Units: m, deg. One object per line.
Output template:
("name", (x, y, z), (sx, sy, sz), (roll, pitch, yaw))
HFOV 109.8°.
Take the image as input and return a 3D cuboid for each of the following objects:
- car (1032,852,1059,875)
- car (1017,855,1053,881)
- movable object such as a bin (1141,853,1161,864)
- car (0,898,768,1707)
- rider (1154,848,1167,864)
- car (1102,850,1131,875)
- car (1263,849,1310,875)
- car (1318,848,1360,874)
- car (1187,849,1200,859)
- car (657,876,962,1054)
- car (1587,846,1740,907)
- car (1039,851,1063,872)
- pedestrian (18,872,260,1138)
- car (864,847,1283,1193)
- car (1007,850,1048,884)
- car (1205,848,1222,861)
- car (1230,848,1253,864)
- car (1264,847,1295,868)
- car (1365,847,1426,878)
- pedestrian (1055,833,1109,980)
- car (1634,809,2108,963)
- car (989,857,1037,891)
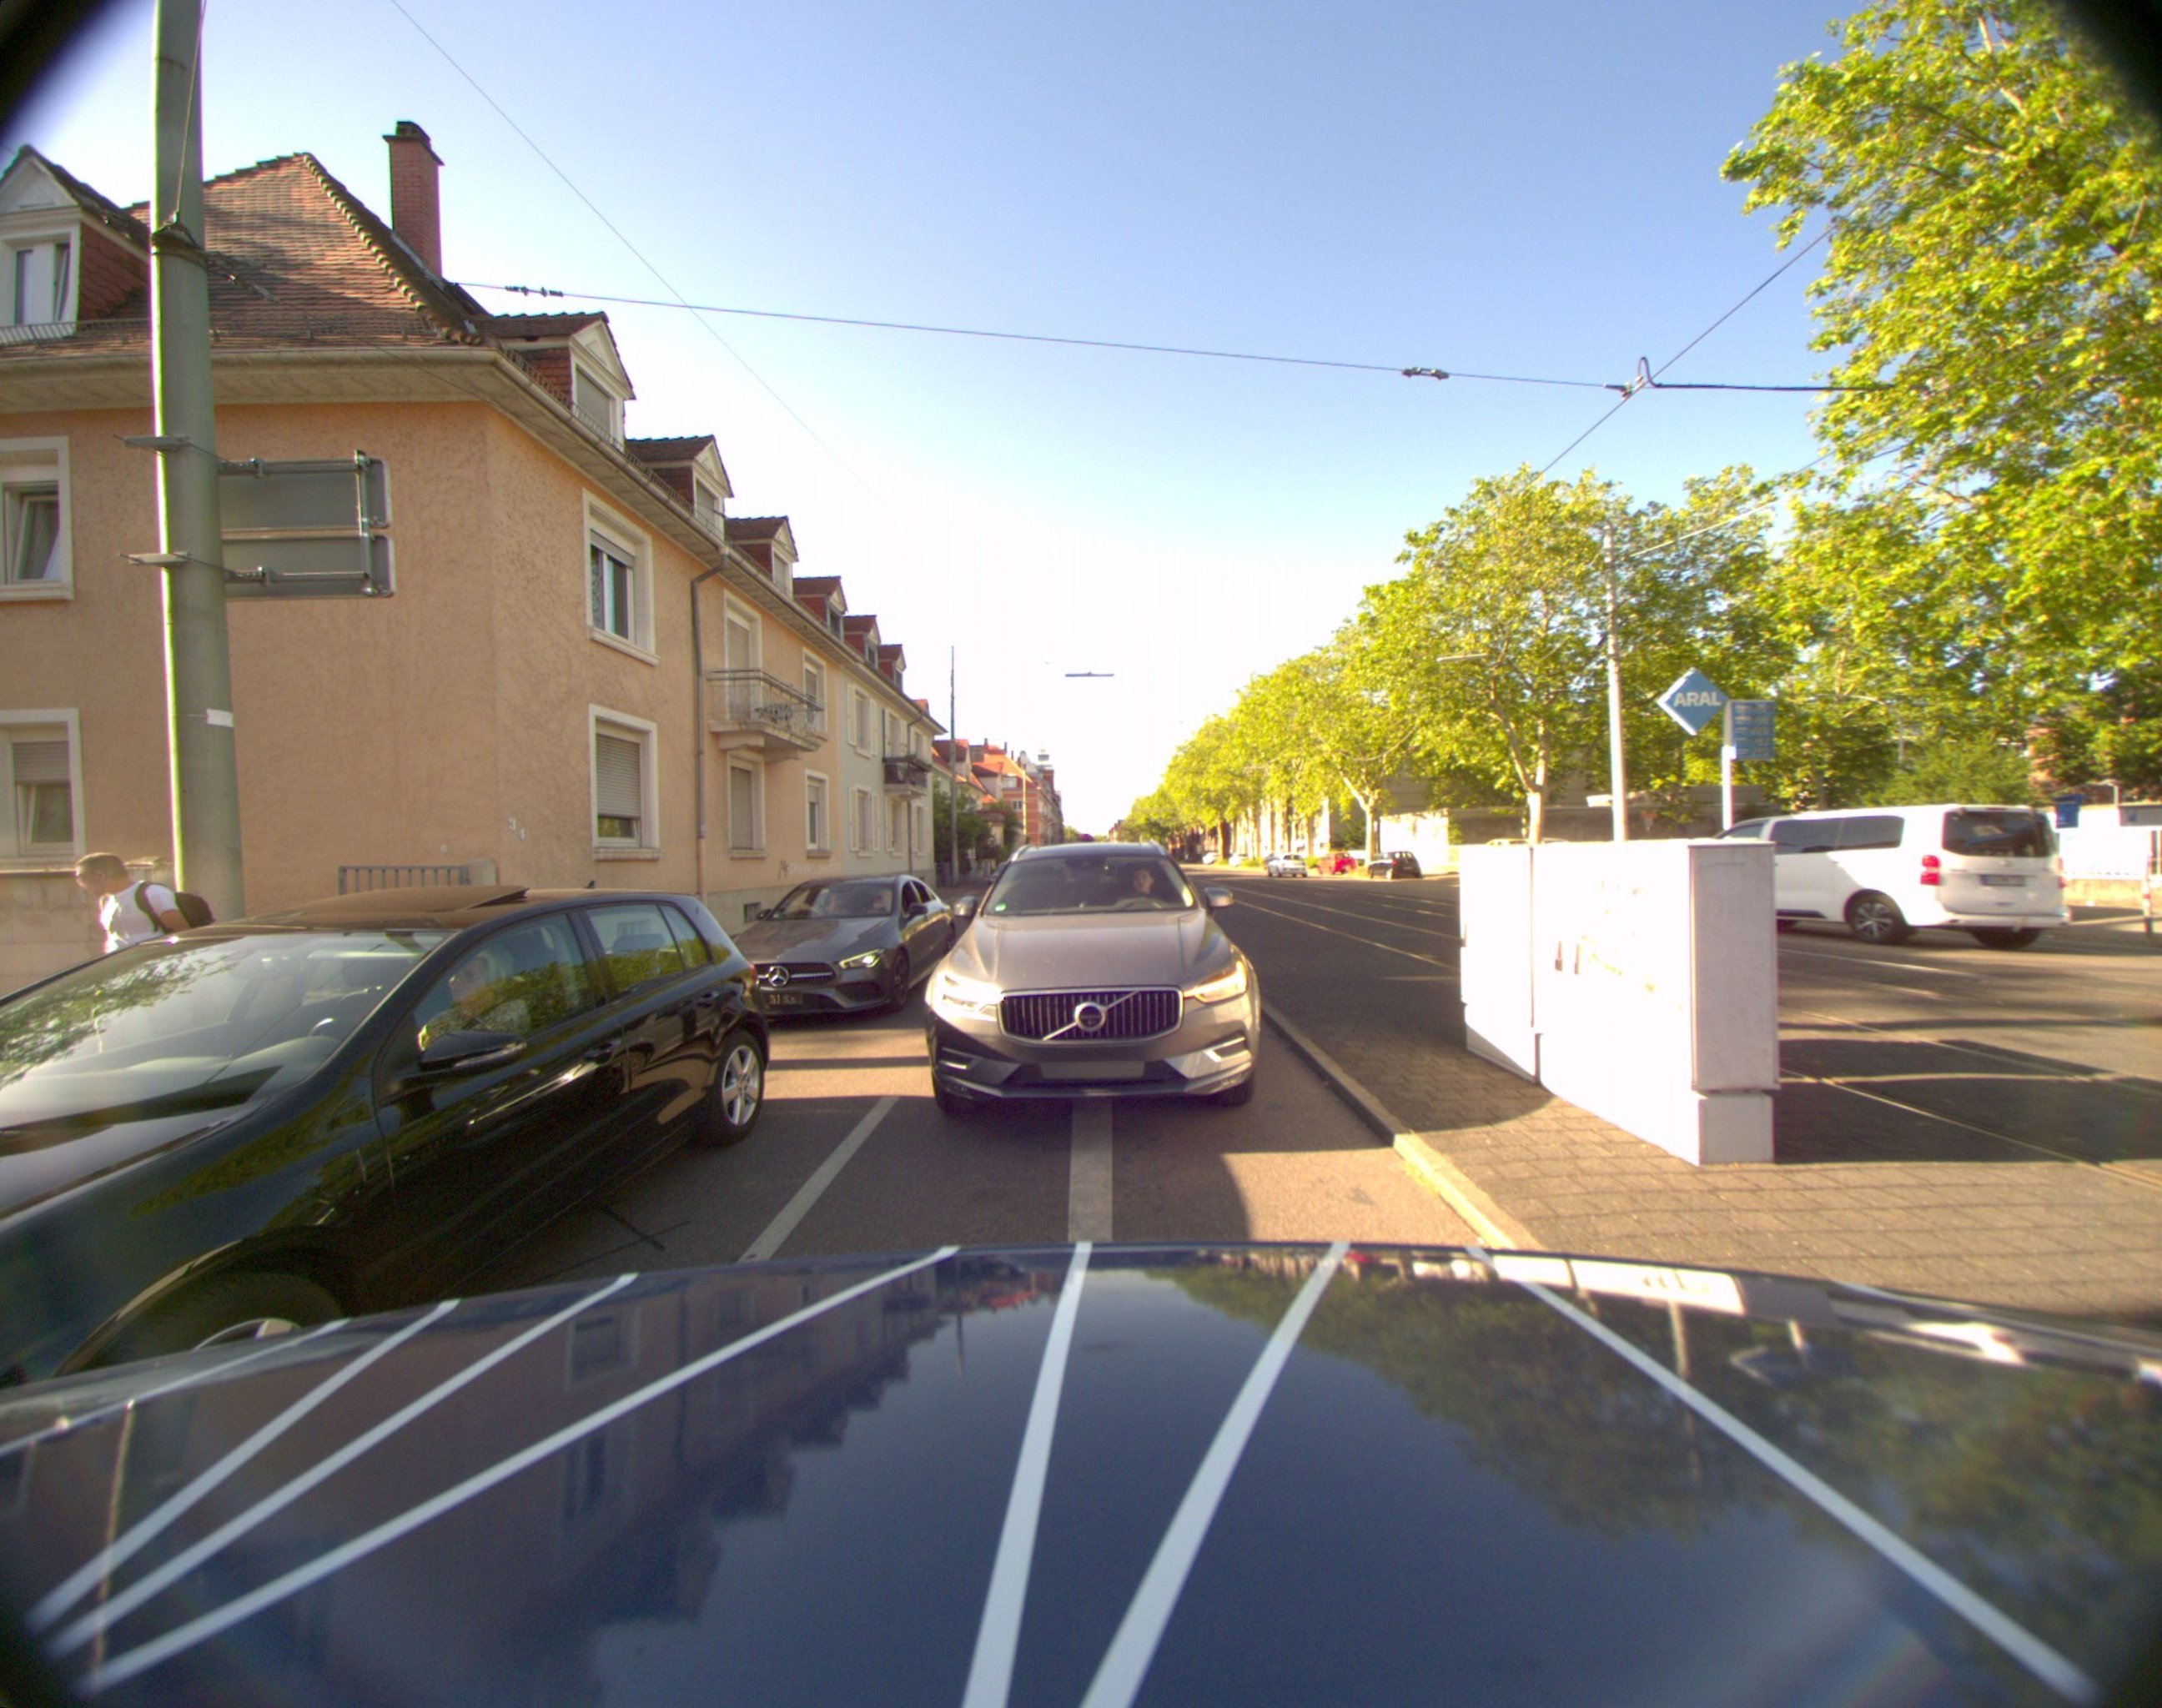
("car", (-2.798, 0.744, 60.911), (1.825, 1.701, 4.334), (-2, 1, 1))
("car", (-2.813, 0.844, 47.018), (1.825, 1.424, 4.334), (-2, 1, 1))
("movable object such as a bin", (7.623, 0.530, 82.499), (1.181, 1.097, 1.830), (-3, 1, -41))
("car", (-2.807, 1.034, 2.600), (1.717, 1.430, 3.990), (-2, 1, 1))
("rider", (8.546, 0.253, 81.349), (0.727, 1.639, 1.103), (-3, 1, -41))
("car", (2.493, 0.559, 53.715), (1.851, 1.640, 3.999), (-2, 1, 1))
("car", (12.242, 0.459, 45.548), (1.742, 1.427, 3.935), (2, 1, 1))
("car", (16.938, 0.414, 50.057), (1.661, 1.486, 3.377), (-5, 1, 2))
("car", (18.528, 0.000, 125.558), (1.661, 1.452, 3.730), (-5, 1, 3))
("car", (-2.726, 1.038, 8.878), (1.825, 1.422, 4.490), (-2, -1, 1))
("car", (16.361, 0.574, 21.586), (1.619, 1.436, 3.606), (-5, 1, 3))
("car", (-2.611, 0.663, 67.277), (1.825, 1.701, 4.334), (-2, 1, 1))
("pedestrian", (-6.260, 0.948, 5.097), (0.610, 1.596, 0.761), (4, 1, -1))
("car", (0.115, 0.786, 5.777), (1.924, 1.579, 4.387), (-2, 1, 4))
("car", (-2.920, 0.665, 42.392), (1.825, 1.701, 4.334), (-2, 1, 1))
("car", (17.552, 0.051, 100.682), (1.661, 1.452, 3.730), (-5, 1, 3))
("car", (17.601, 0.201, 83.468), (1.754, 1.532, 3.878), (-5, 1, 3))
("car", (17.196, 0.289, 65.936), (1.754, 1.582, 3.878), (-5, 1, 3))
("car", (16.824, 0.417, 40.815), (1.723, 1.436, 3.769), (-5, 1, 3))
("pedestrian", (0.014, 0.663, 9.904), (0.609, 1.832, 0.599), (-2, 1, 1))
("car", (11.629, 0.385, 11.969), (1.998, 1.843, 5.216), (2, 0, 0))
("car", (-3.242, 0.942, 37.138), (1.825, 1.422, 4.334), (-2, 1, 1))
